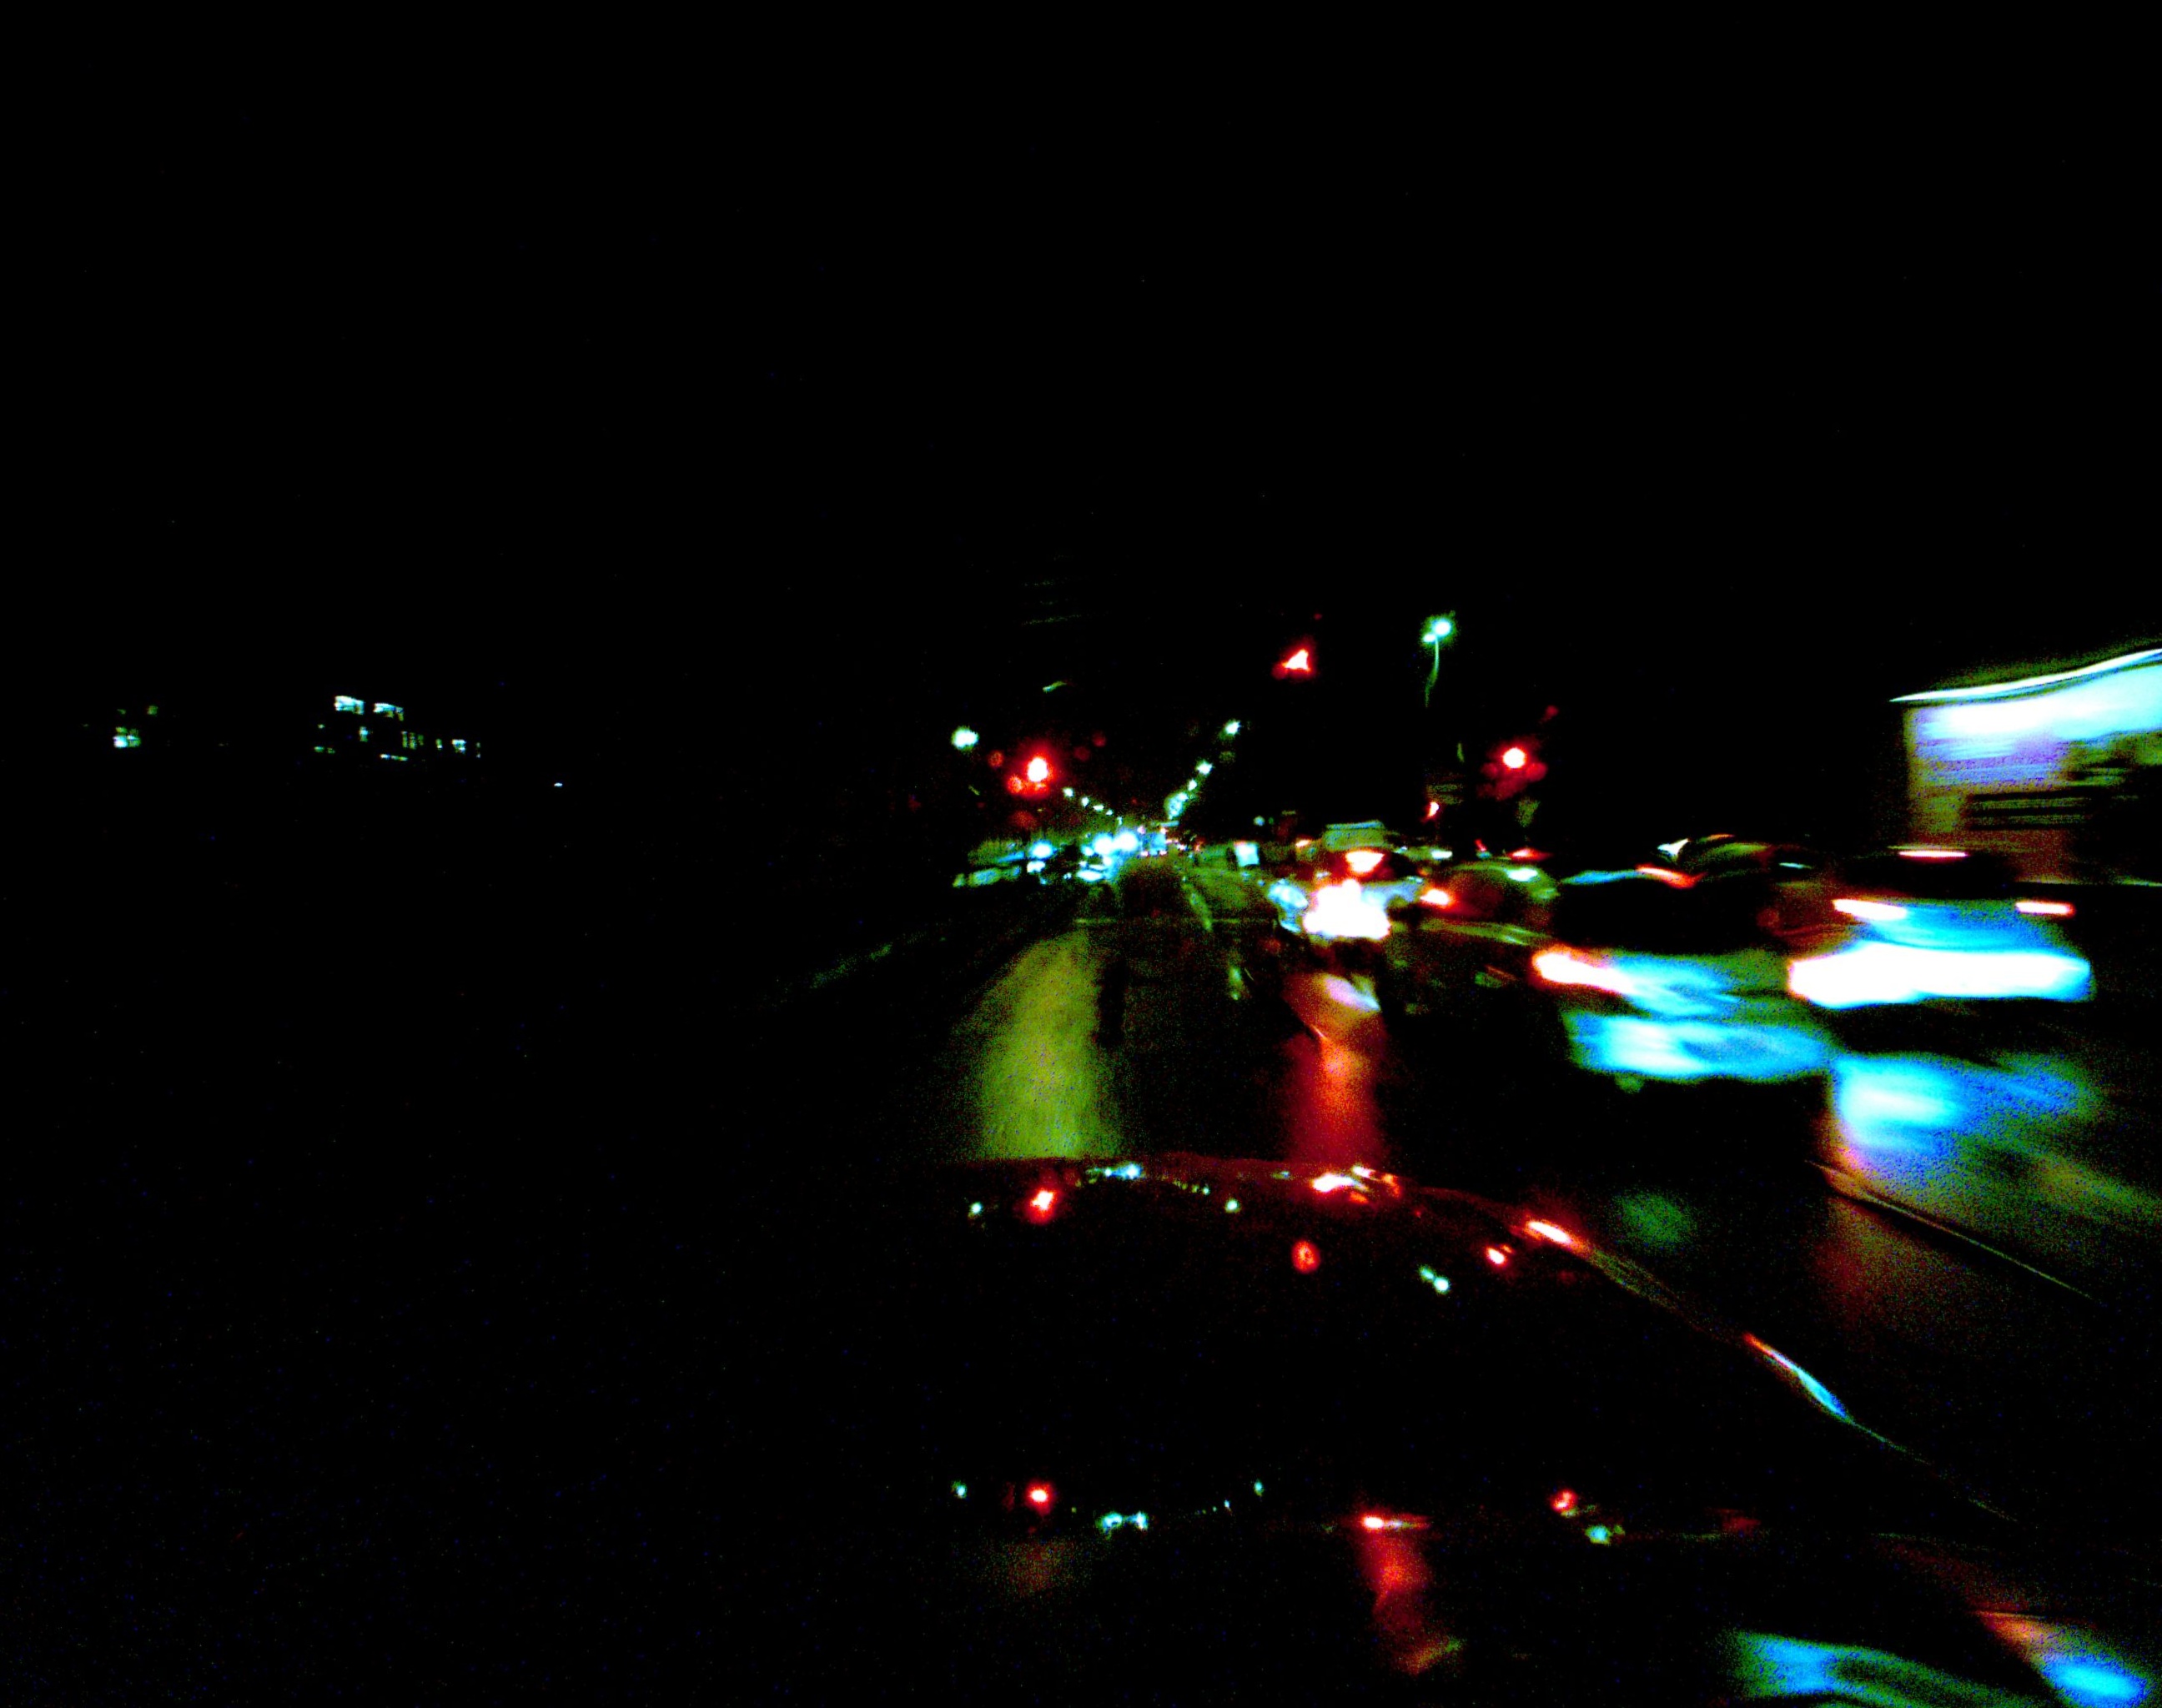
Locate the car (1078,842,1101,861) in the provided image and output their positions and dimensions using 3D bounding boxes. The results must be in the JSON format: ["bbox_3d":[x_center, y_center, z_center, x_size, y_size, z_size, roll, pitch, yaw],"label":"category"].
[{"bbox_3d":[0.712,-0.222,71.673,1.896,1.618,4.512,-1,0,-1],"label":"car"}]

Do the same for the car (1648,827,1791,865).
[{"bbox_3d":[29.073,-0.348,37.258,4.818,1.590,1.859,-1,0,12],"label":"car"}]

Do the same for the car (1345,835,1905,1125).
[{"bbox_3d":[3.405,0.639,6.195,1.712,1.446,4.167,-1,0,4],"label":"car"}]

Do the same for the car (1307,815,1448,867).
[{"bbox_3d":[11.055,-0.449,30.445,4.780,1.769,1.847,-1,0,23],"label":"car"}]

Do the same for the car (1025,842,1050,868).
[{"bbox_3d":[-3.063,0.042,57.300,1.714,1.734,3.760,-1,0,-3],"label":"car"}]

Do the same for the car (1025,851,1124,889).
[{"bbox_3d":[-0.343,0.740,37.575,4.371,1.649,1.848,-1,0,40],"label":"car"}]

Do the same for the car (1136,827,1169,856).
[{"bbox_3d":[5.634,-0.925,64.904,2.431,2.194,5.083,-1,0,3],"label":"car"}]

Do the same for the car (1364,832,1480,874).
[{"bbox_3d":[14.221,-0.031,34.004,4.327,1.623,1.848,-1,0,26],"label":"car"}]

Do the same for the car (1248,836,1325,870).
[{"bbox_3d":[12.740,-0.072,50.711,2.054,2.013,4.258,-1,0,-37],"label":"car"}]

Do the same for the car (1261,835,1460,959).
[{"bbox_3d":[3.890,0.522,12.130,1.712,1.446,4.388,-3,0,4],"label":"car"}]

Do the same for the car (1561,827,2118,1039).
[{"bbox_3d":[6.650,0.566,7.925,1.712,1.446,4.167,-3,0,4],"label":"car"}]

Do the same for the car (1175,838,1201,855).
[{"bbox_3d":[10.116,-0.722,77.206,2.083,1.545,4.310,-1,0,3],"label":"car"}]

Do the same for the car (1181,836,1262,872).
[{"bbox_3d":[8.197,-0.001,47.671,4.252,2.013,2.057,-1,0,43],"label":"car"}]
